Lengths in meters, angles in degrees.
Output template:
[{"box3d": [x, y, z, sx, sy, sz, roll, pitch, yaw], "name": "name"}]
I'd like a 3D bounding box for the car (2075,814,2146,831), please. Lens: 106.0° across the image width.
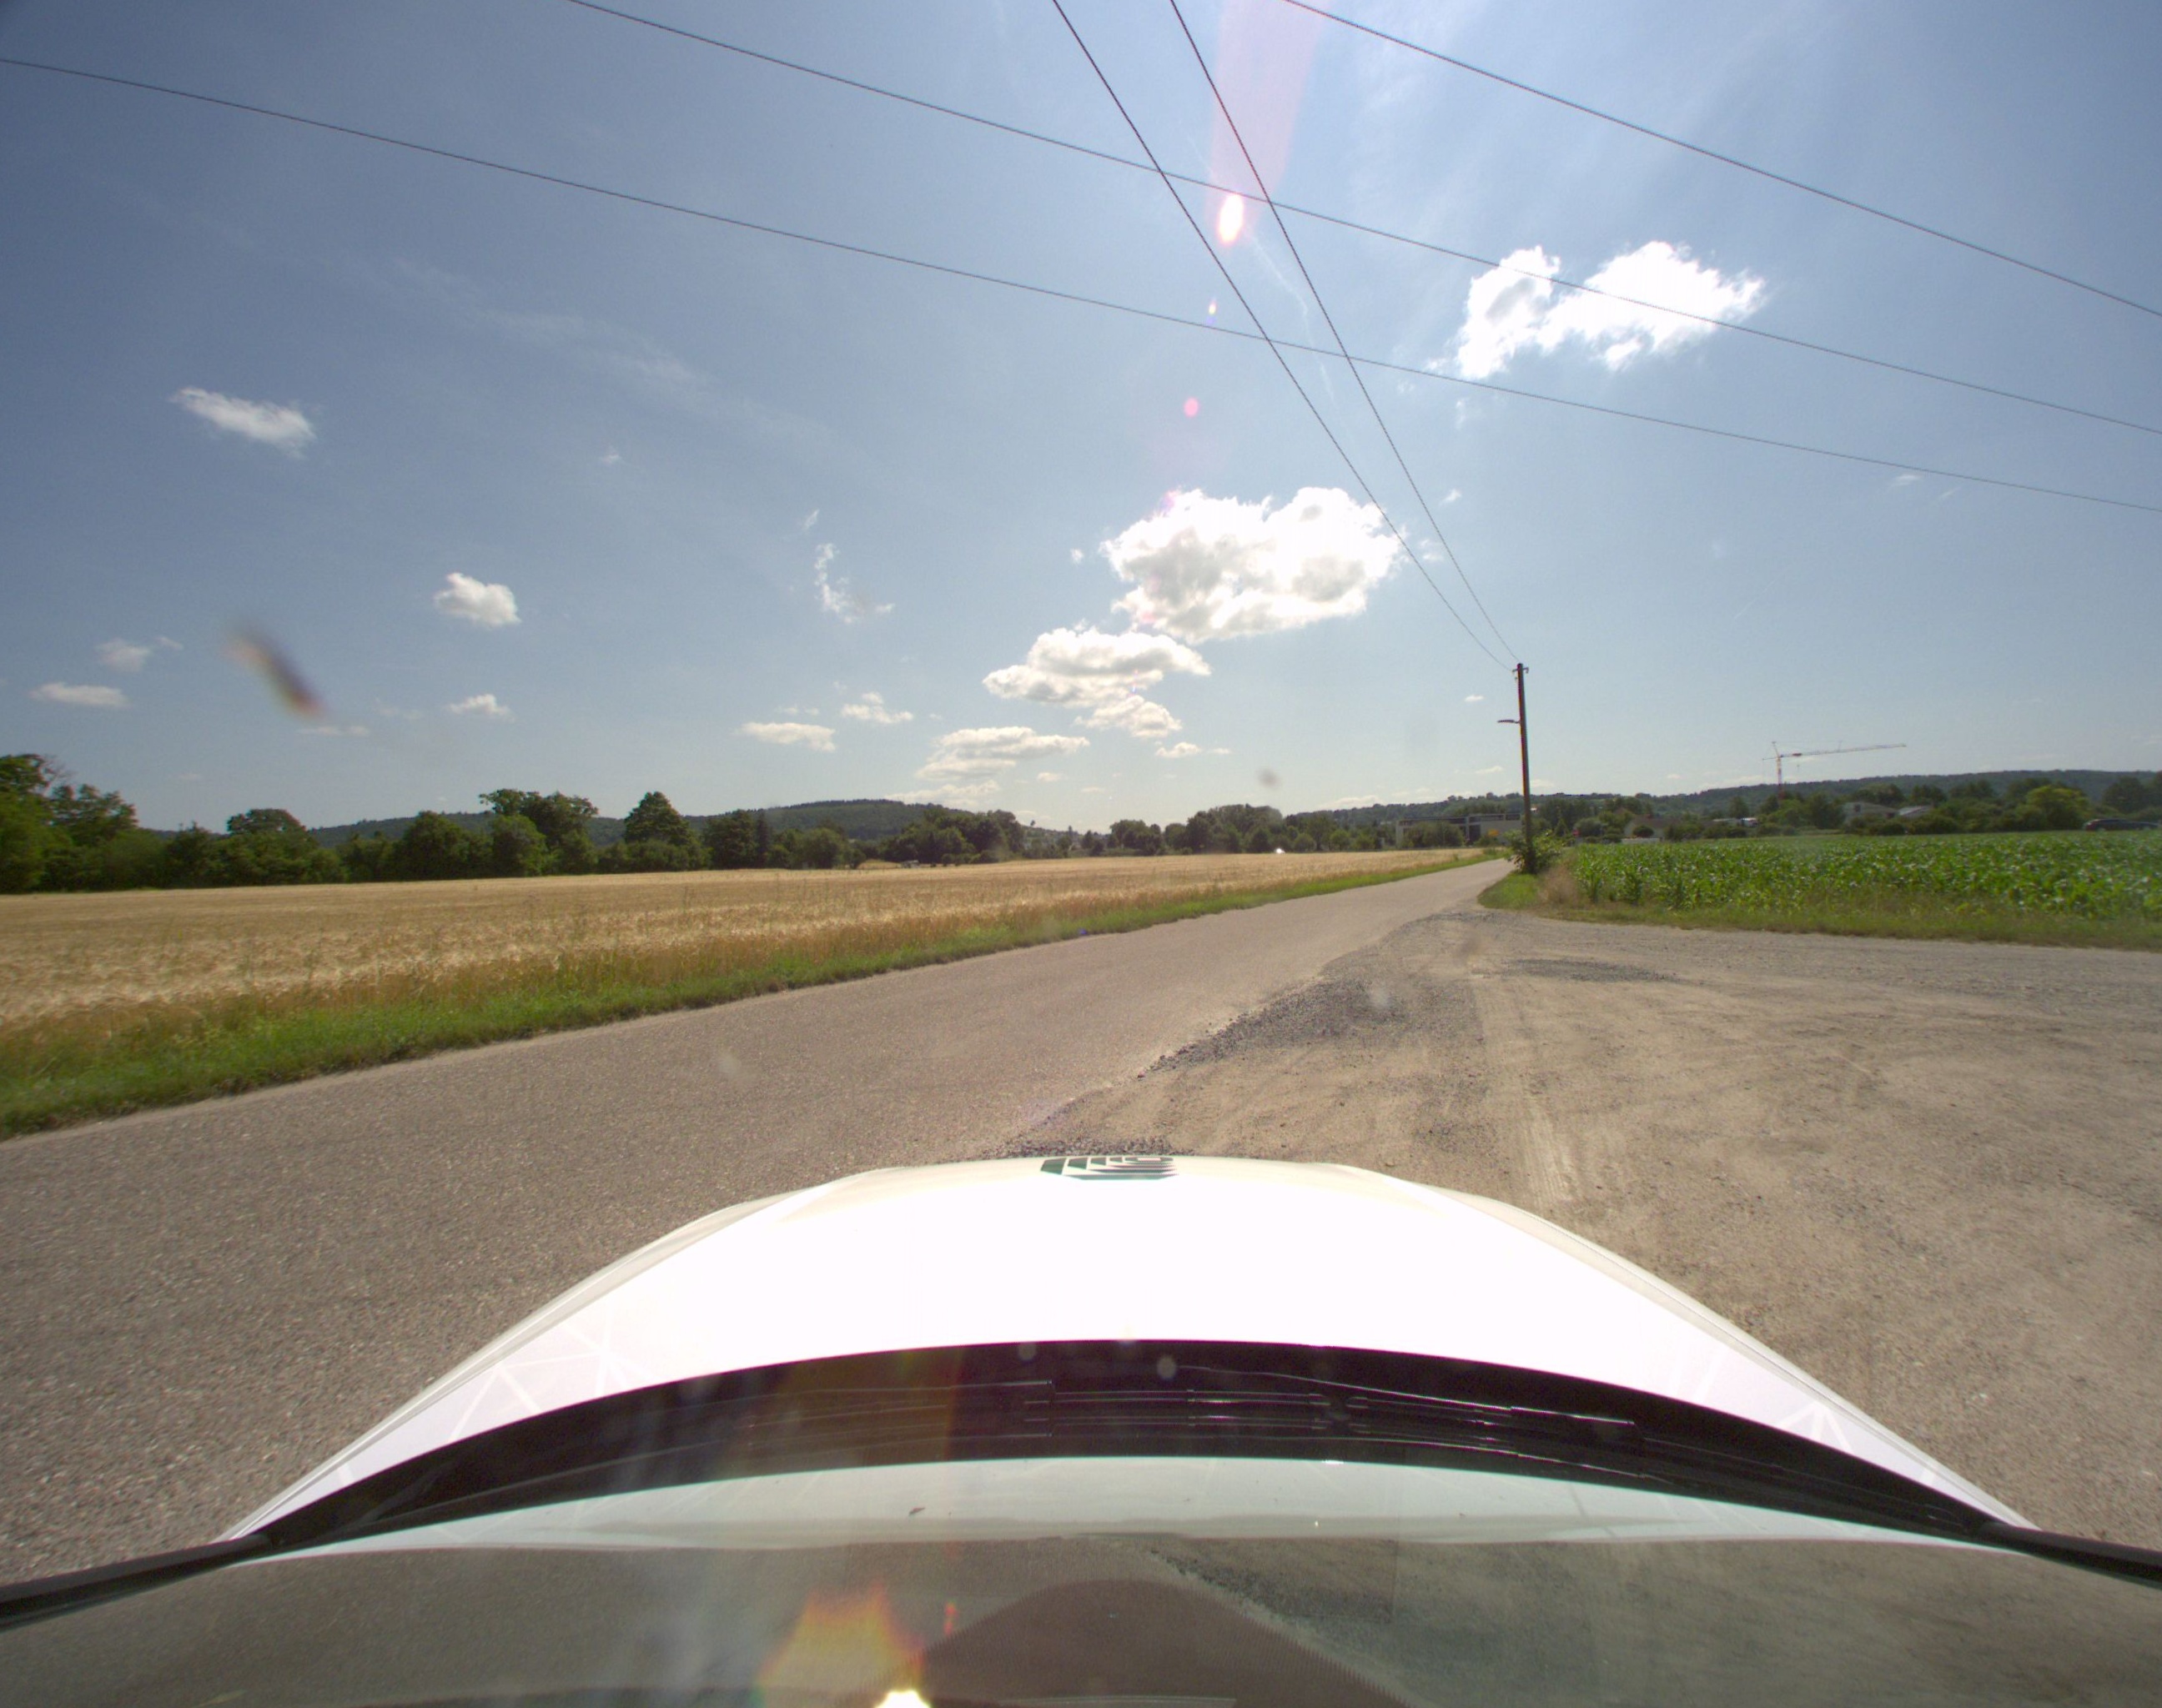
[{"box3d": [104.638, -3.174, 82.857, 1.827, 1.502, 4.239, -2, 0, -44], "name": "car"}]
